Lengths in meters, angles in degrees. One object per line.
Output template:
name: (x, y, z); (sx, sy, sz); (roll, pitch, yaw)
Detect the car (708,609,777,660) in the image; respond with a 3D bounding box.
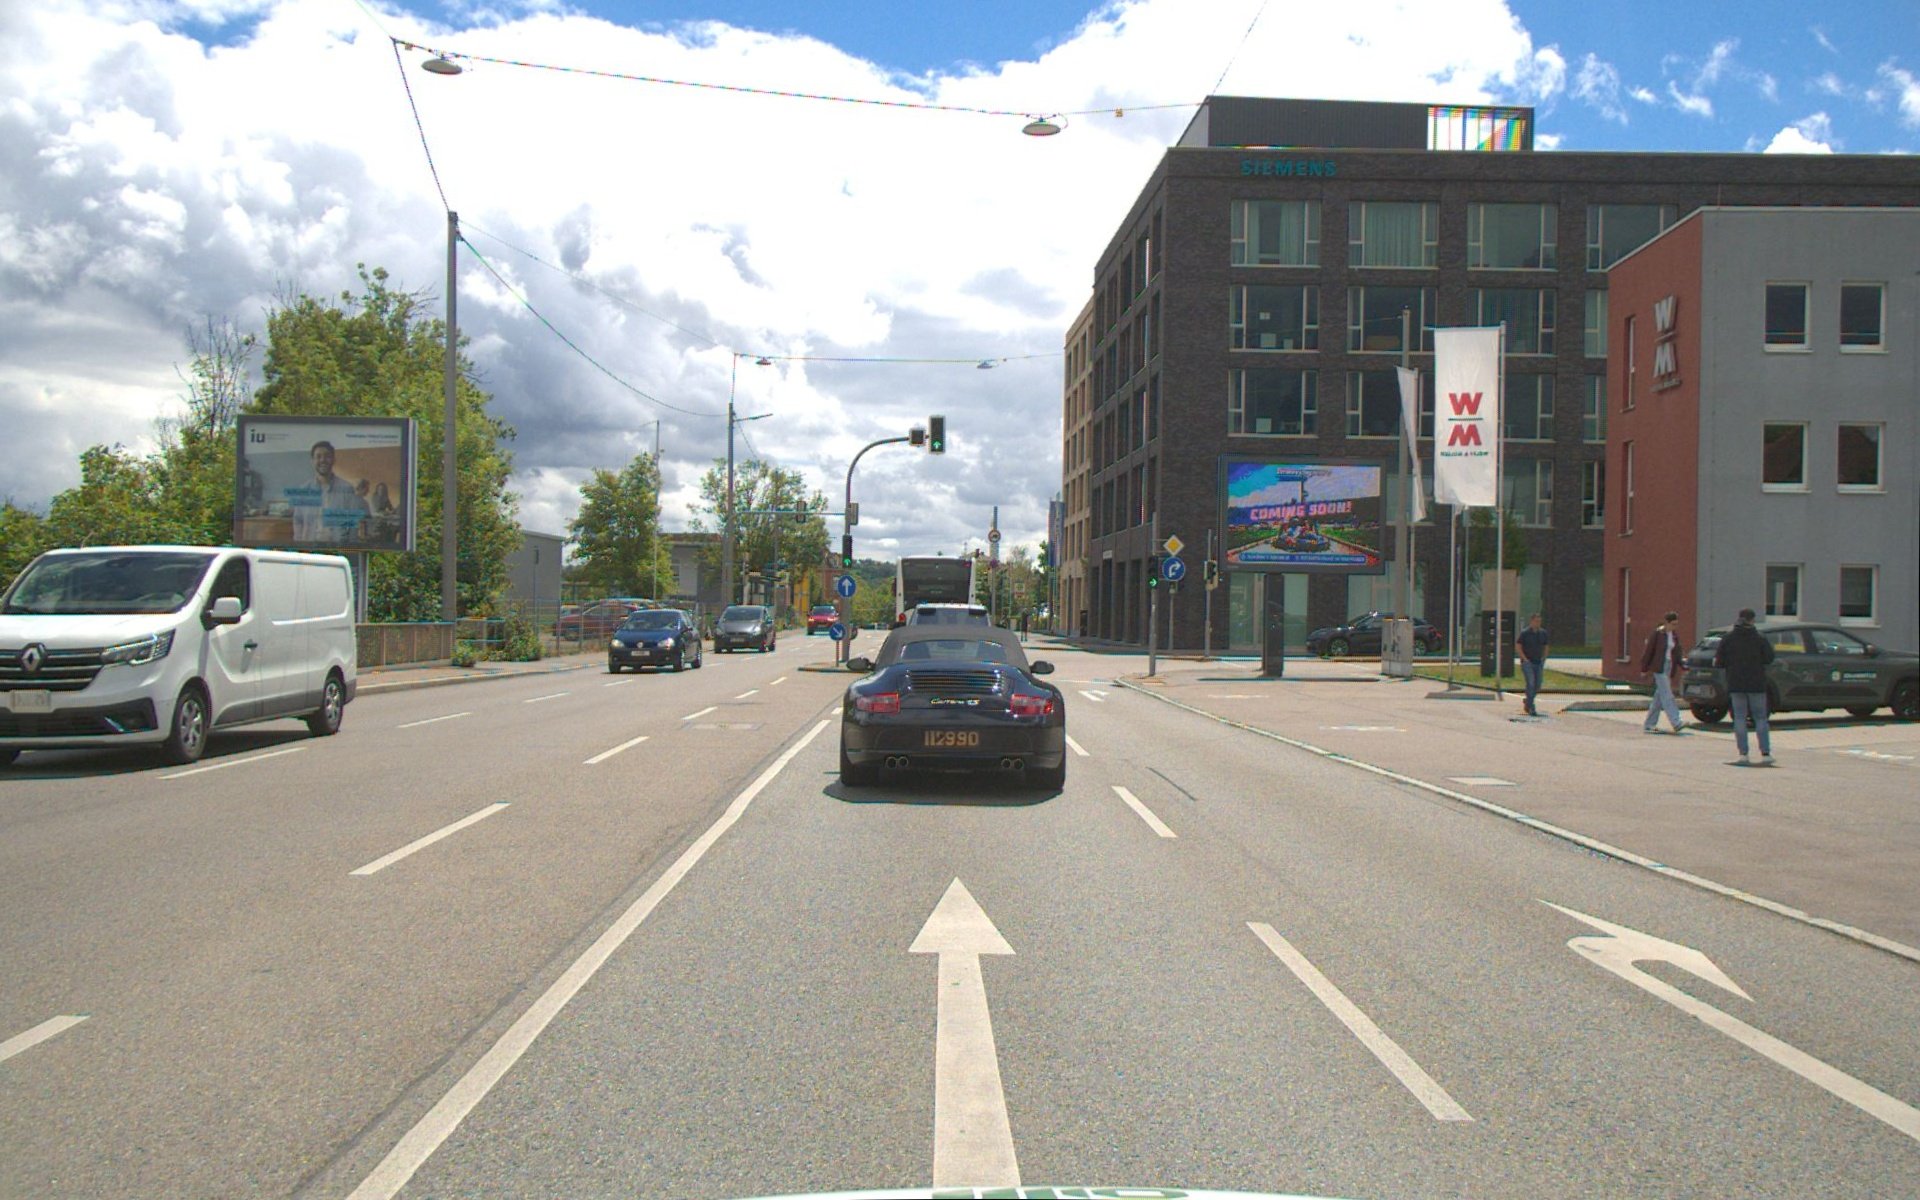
car: (-7.679, 1.190, 58.875); (1.873, 1.732, 4.624); (1, 0, -1)

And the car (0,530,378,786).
car: (-7.597, 0.475, 16.213); (1.853, 2.049, 5.648); (1, 0, -1)

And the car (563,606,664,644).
car: (-13.500, 0.972, 64.669); (3.782, 1.444, 1.898); (1, -1, -10)

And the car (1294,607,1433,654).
car: (14.701, 1.102, 60.398); (4.546, 1.647, 1.999); (0, -1, -2)

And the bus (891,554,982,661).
bus: (-0.756, 0.256, 57.040); (2.745, 3.254, 12.193); (1, 0, 0)

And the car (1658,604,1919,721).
car: (12.839, 0.931, 25.190); (3.591, 1.512, 1.762); (-3, -1, 1)

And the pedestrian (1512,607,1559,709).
pedestrian: (10.051, 1.003, 28.873); (0.698, 1.737, 0.630); (1, 0, 26)

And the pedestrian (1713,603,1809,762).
pedestrian: (8.959, 0.909, 18.523); (0.697, 1.737, 0.739); (1, -1, -1)

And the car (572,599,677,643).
car: (-13.636, 0.851, 67.445); (4.023, 1.765, 1.997); (0, -1, -6)

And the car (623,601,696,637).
car: (-17.810, 1.147, 98.157); (4.197, 2.049, 2.136); (0, -1, -9)

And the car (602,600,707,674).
car: (-7.280, 0.853, 39.774); (1.818, 1.646, 3.999); (1, 0, -1)

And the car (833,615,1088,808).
car: (-0.024, 0.857, 14.529); (1.891, 1.401, 4.207); (1, 0, -1)

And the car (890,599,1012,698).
car: (-0.232, 0.822, 29.564); (1.892, 1.611, 4.204); (1, -1, -4)

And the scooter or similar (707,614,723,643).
scooter or similar: (-10.623, 1.216, 71.707); (0.415, 1.232, 1.126); (2, 0, 3)

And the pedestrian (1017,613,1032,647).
pedestrian: (3.402, 1.587, 87.076); (0.669, 1.758, 0.961); (1, -1, -2)

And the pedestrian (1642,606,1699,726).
pedestrian: (10.569, 0.968, 24.606); (0.734, 1.737, 0.570); (1, 0, 26)

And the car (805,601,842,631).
car: (-7.908, 0.908, 95.776); (1.803, 1.624, 3.999); (1, 0, 0)
